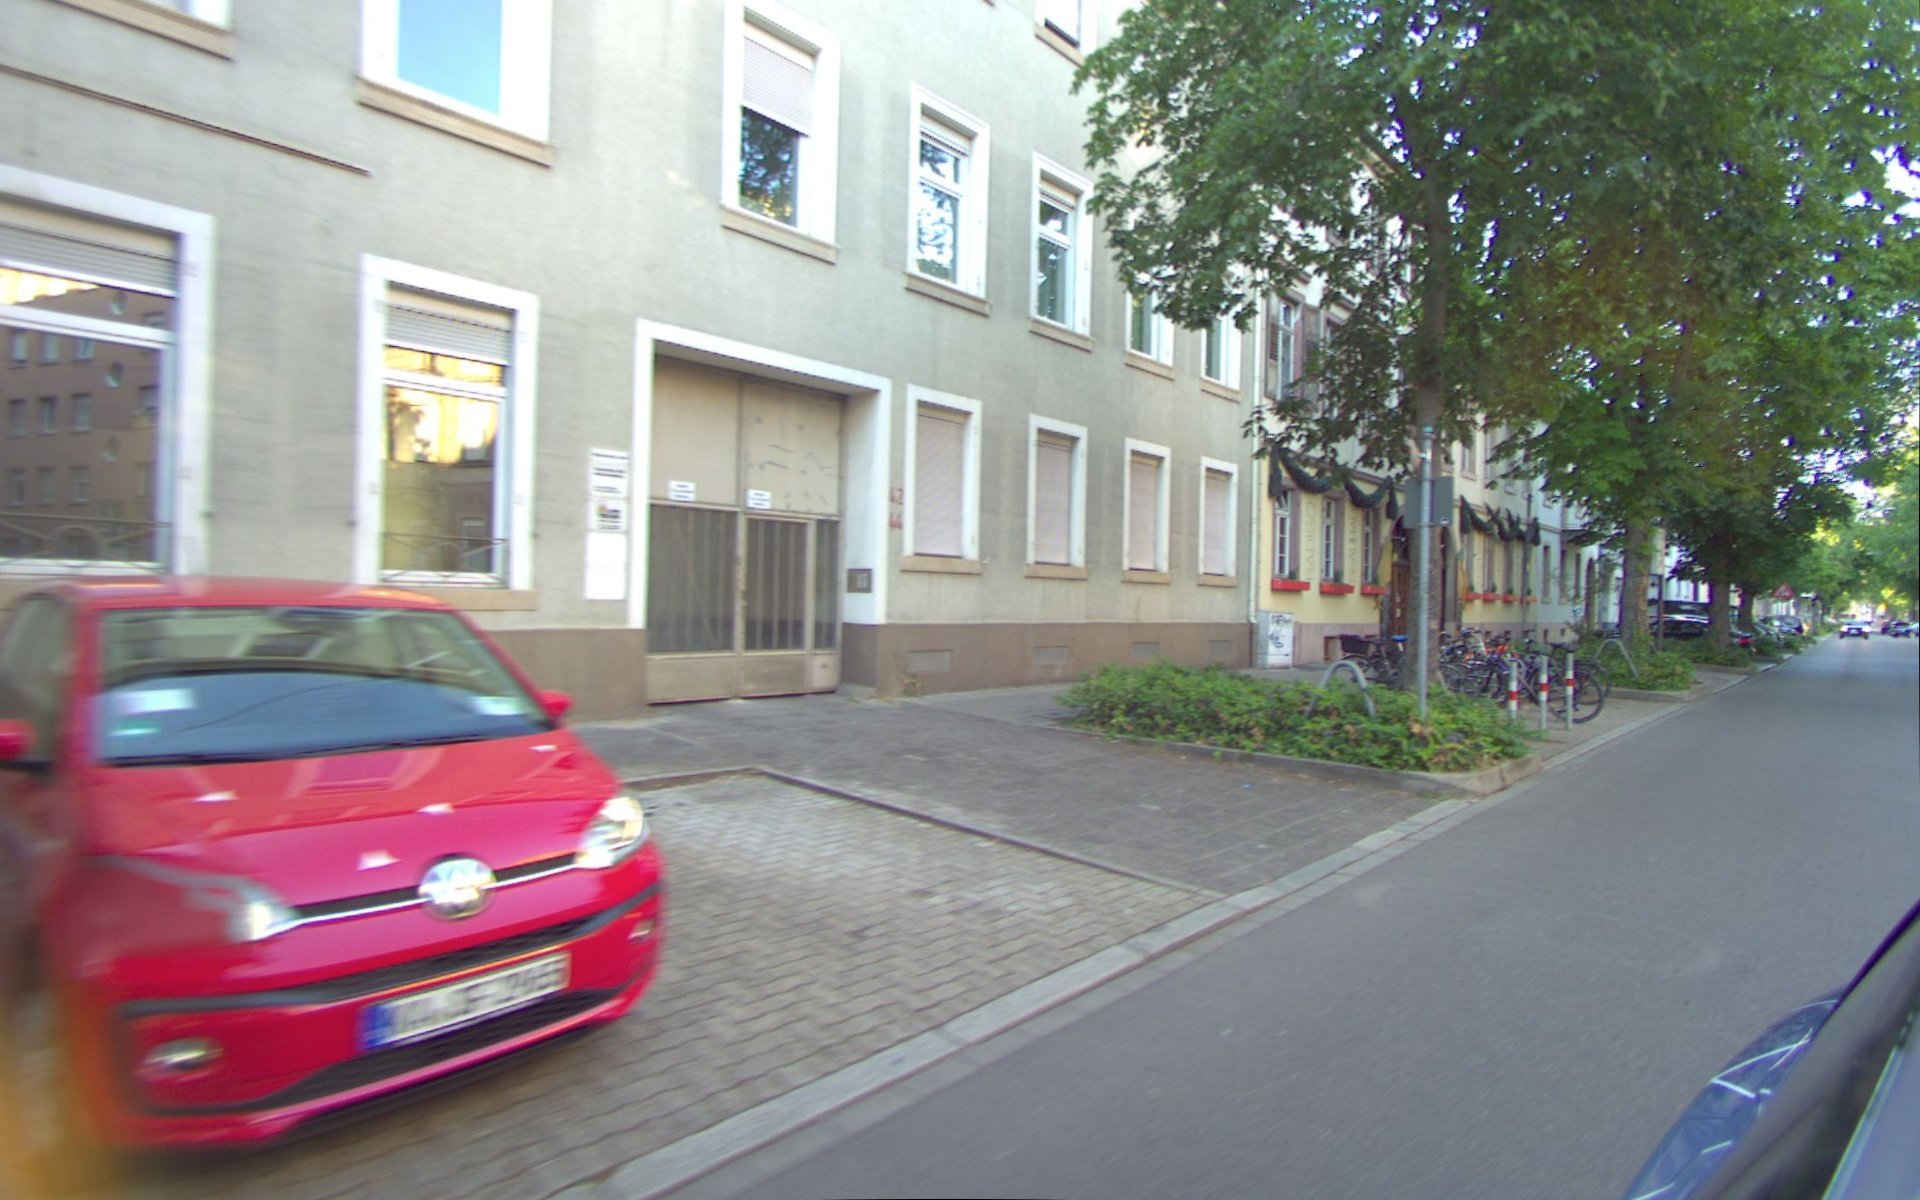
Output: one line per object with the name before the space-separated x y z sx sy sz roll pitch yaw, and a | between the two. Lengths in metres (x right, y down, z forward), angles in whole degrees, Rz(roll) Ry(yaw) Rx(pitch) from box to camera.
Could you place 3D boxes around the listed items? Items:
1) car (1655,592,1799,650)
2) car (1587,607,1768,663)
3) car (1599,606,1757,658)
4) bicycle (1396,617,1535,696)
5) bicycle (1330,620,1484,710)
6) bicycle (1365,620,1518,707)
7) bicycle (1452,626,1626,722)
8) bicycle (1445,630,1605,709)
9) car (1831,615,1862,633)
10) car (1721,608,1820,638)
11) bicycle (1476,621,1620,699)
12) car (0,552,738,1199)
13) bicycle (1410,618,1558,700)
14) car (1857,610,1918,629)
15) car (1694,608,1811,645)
car | 31.007 0.802 40.993 4.433 2.150 1.748 2 0 45
car | 22.597 1.053 31.991 4.433 1.524 1.748 2 0 45
car | 25.793 1.098 36.465 4.433 1.633 1.748 2 0 45
bicycle | 8.382 0.908 16.853 2.035 1.160 0.415 2 0 43
bicycle | 6.503 0.916 14.832 0.439 1.160 2.038 1 0 -43
bicycle | 7.232 0.920 15.289 2.035 1.160 0.415 2 0 43
bicycle | 7.953 0.982 13.989 2.036 1.160 0.439 2 0 44
bicycle | 8.423 1.003 15.160 2.035 1.016 0.415 2 0 43
car | 73.363 2.008 83.742 1.822 1.390 3.938 2 0 42
car | 48.282 1.357 60.342 4.433 1.633 1.748 2 0 45
bicycle | 9.805 0.975 16.936 2.035 1.160 0.415 2 0 43
car | -2.571 0.603 3.762 3.653 1.494 1.542 3 1 42
bicycle | 8.283 0.907 16.083 2.035 1.160 0.415 2 0 43
car | 81.541 1.720 88.982 3.939 1.551 1.779 2 0 -7
car | 39.553 1.273 50.550 4.433 1.633 1.748 2 0 45
